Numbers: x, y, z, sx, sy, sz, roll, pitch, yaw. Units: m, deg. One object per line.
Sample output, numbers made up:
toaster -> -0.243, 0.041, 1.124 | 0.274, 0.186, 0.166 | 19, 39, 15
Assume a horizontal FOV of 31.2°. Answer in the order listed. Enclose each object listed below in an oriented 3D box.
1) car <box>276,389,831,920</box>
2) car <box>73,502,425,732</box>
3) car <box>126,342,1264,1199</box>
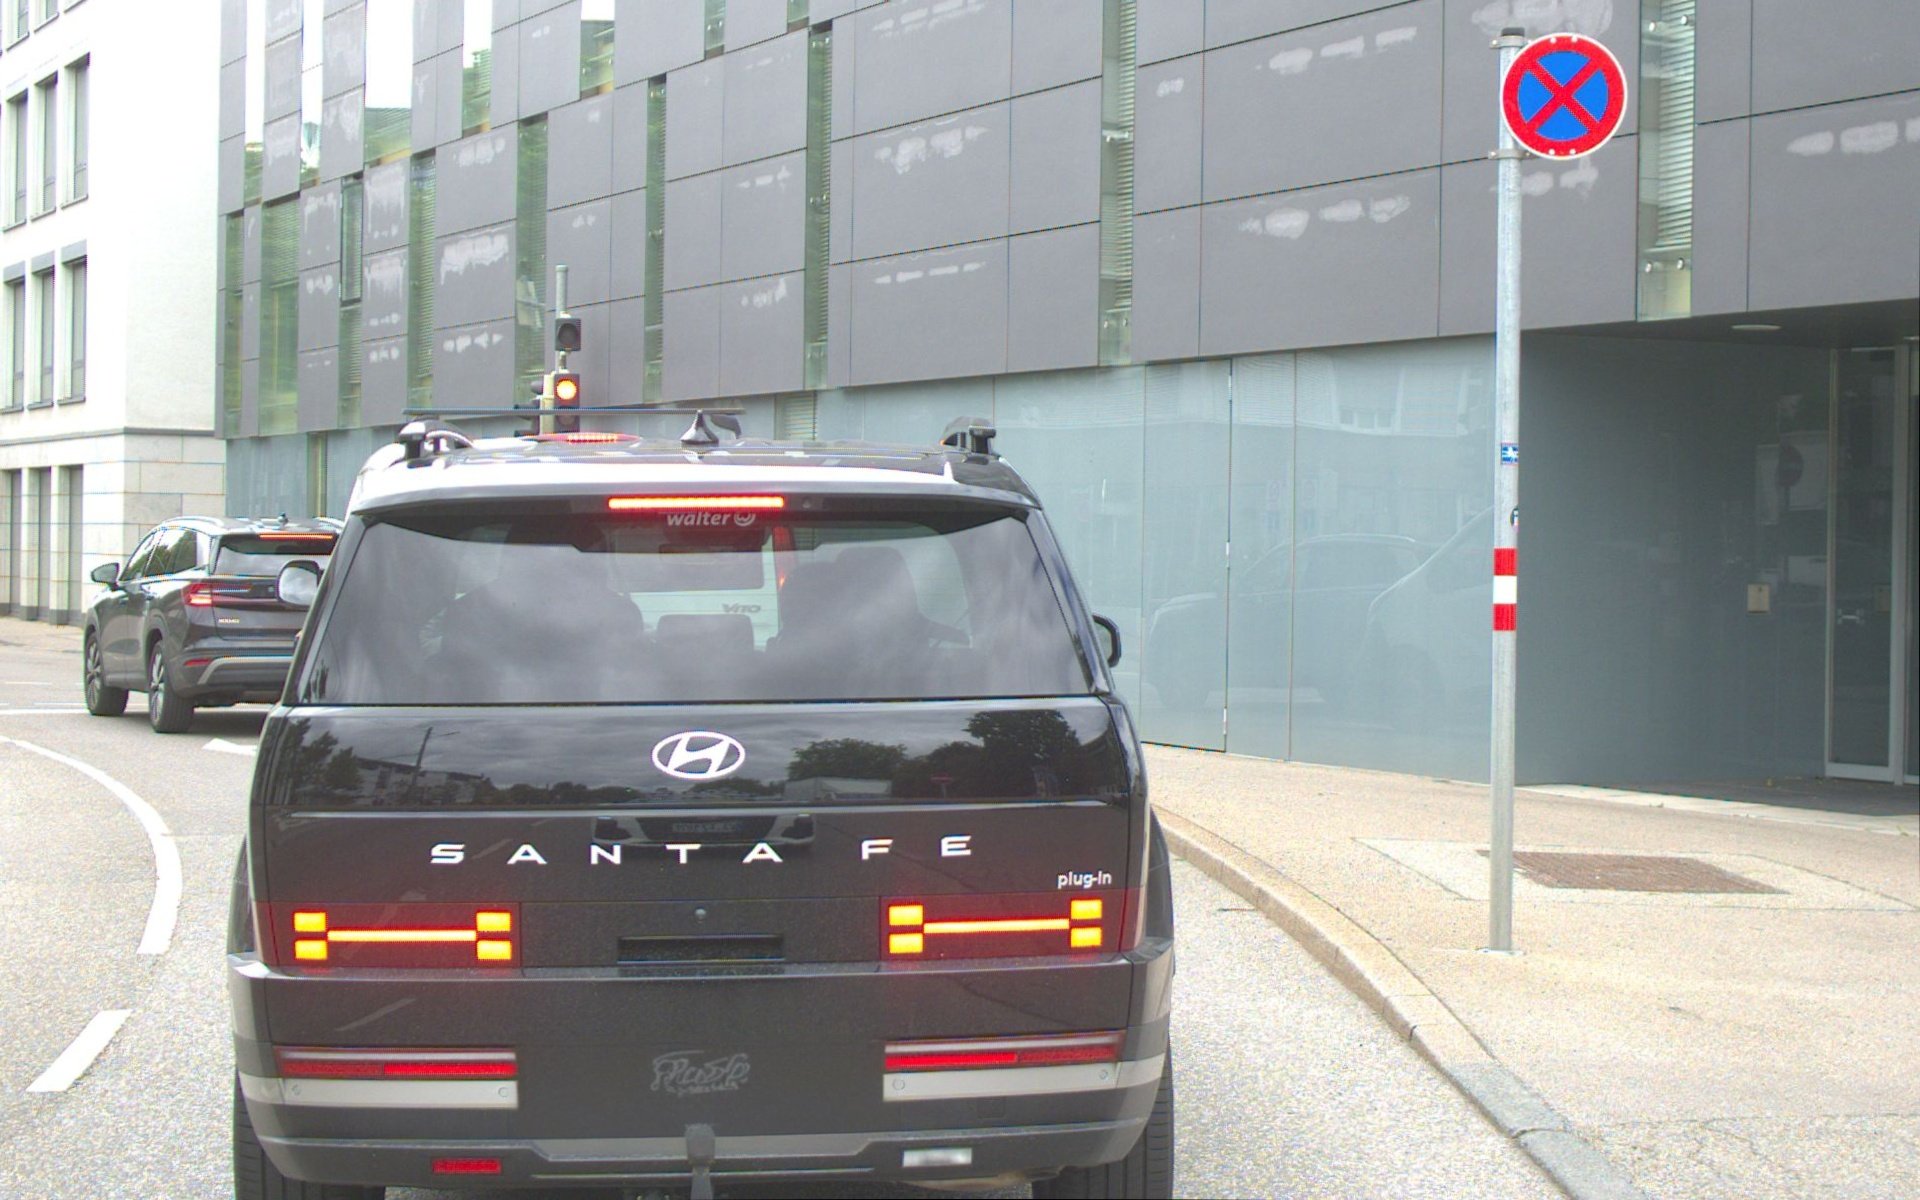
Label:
car -> -1.989, 0.159, 15.503 | 1.855, 2.026, 4.439 | 0, 1, -15
car -> -5.740, 0.096, 27.359 | 1.847, 1.671, 4.376 | -1, 1, -24
car -> -0.591, 0.415, 8.069 | 1.915, 1.719, 4.171 | 2, 1, -4
